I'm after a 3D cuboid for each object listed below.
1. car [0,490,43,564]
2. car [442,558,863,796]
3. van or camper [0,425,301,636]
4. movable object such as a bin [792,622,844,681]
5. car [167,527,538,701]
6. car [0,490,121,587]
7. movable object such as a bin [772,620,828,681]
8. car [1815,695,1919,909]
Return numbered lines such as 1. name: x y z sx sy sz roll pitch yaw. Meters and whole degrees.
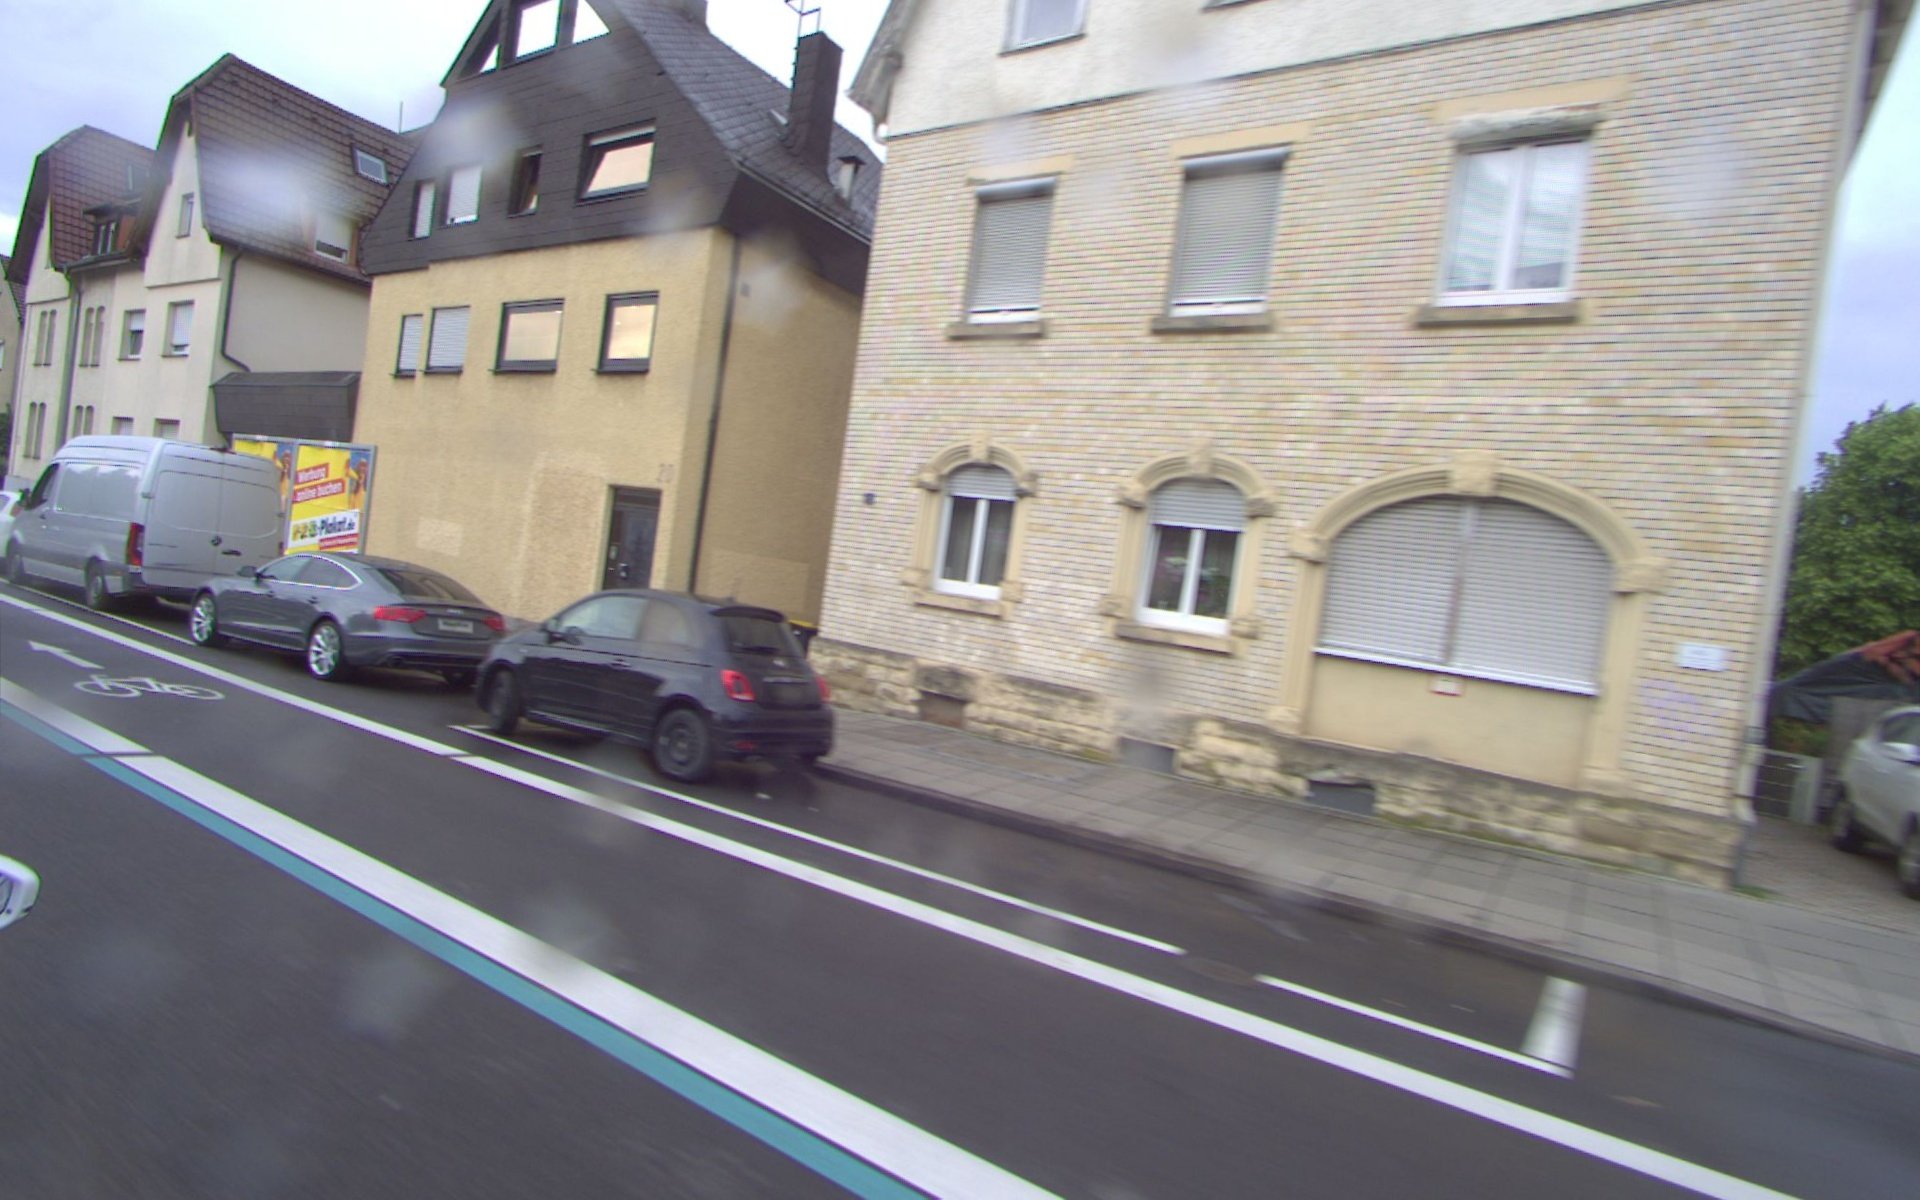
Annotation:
1. car: -21.771 -1.781 21.976 3.647 1.465 1.629 8 -1 34
2. car: -2.831 0.632 9.167 3.453 1.515 1.570 7 -2 29
3. van or camper: -13.258 -1.198 16.146 5.943 2.593 1.997 8 -1 33
4. movable object such as a bin: -2.555 0.933 18.085 0.685 0.956 0.461 7 -1 31
5. car: -7.465 0.142 12.268 4.474 1.422 1.793 8 -2 29
6. car: -18.051 -1.292 19.368 3.974 1.463 1.712 8 -1 33
7. movable object such as a bin: -2.802 0.880 17.646 0.714 0.956 0.475 7 -1 31
8. car: 9.578 1.892 9.195 1.839 1.674 3.991 8 1 31
